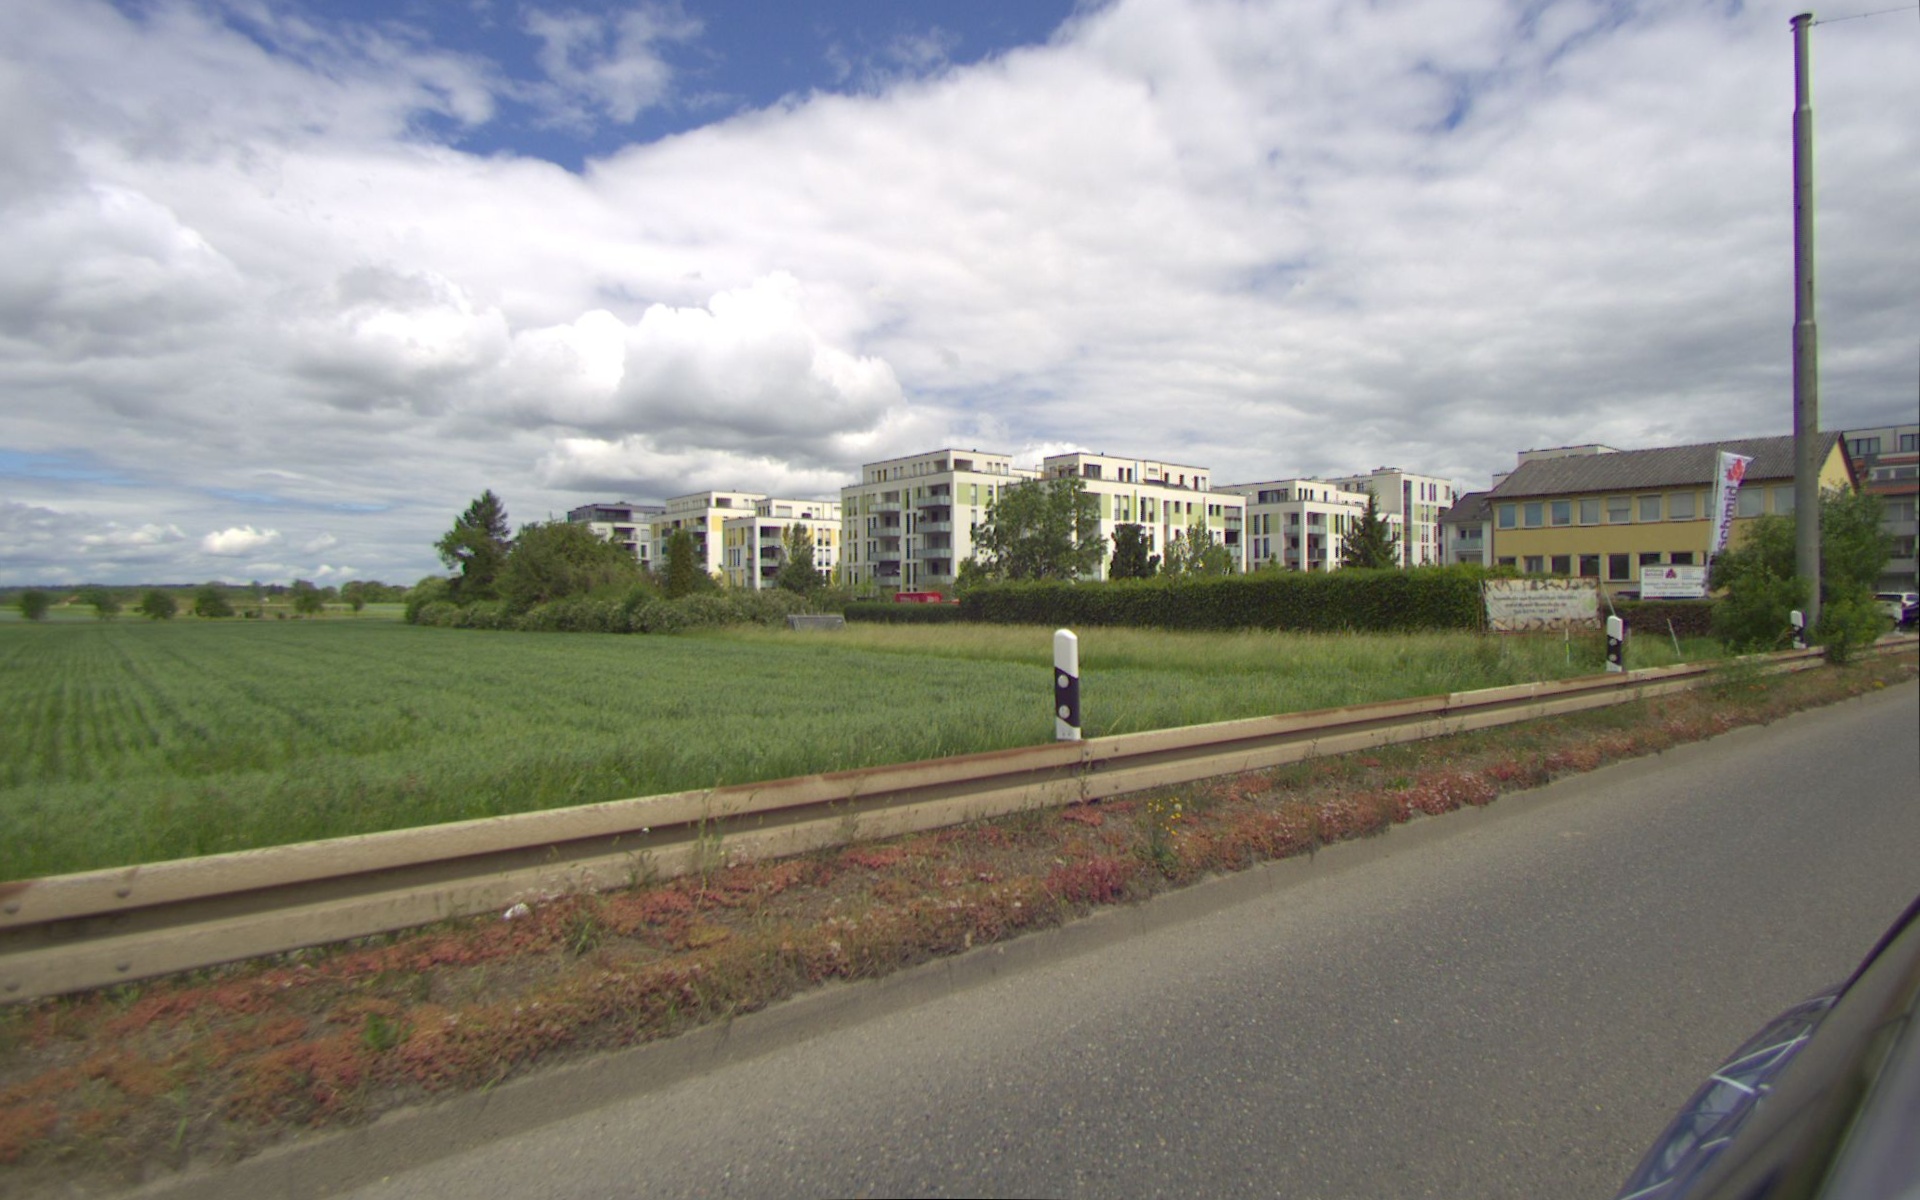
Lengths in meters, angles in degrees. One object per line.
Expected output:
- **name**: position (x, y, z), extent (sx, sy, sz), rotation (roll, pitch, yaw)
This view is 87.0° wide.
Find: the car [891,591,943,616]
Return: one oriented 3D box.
- **car**: position (-3.657, 0.263, 85.513), extent (1.967, 2.039, 4.430), rotation (-1, 1, -43)
